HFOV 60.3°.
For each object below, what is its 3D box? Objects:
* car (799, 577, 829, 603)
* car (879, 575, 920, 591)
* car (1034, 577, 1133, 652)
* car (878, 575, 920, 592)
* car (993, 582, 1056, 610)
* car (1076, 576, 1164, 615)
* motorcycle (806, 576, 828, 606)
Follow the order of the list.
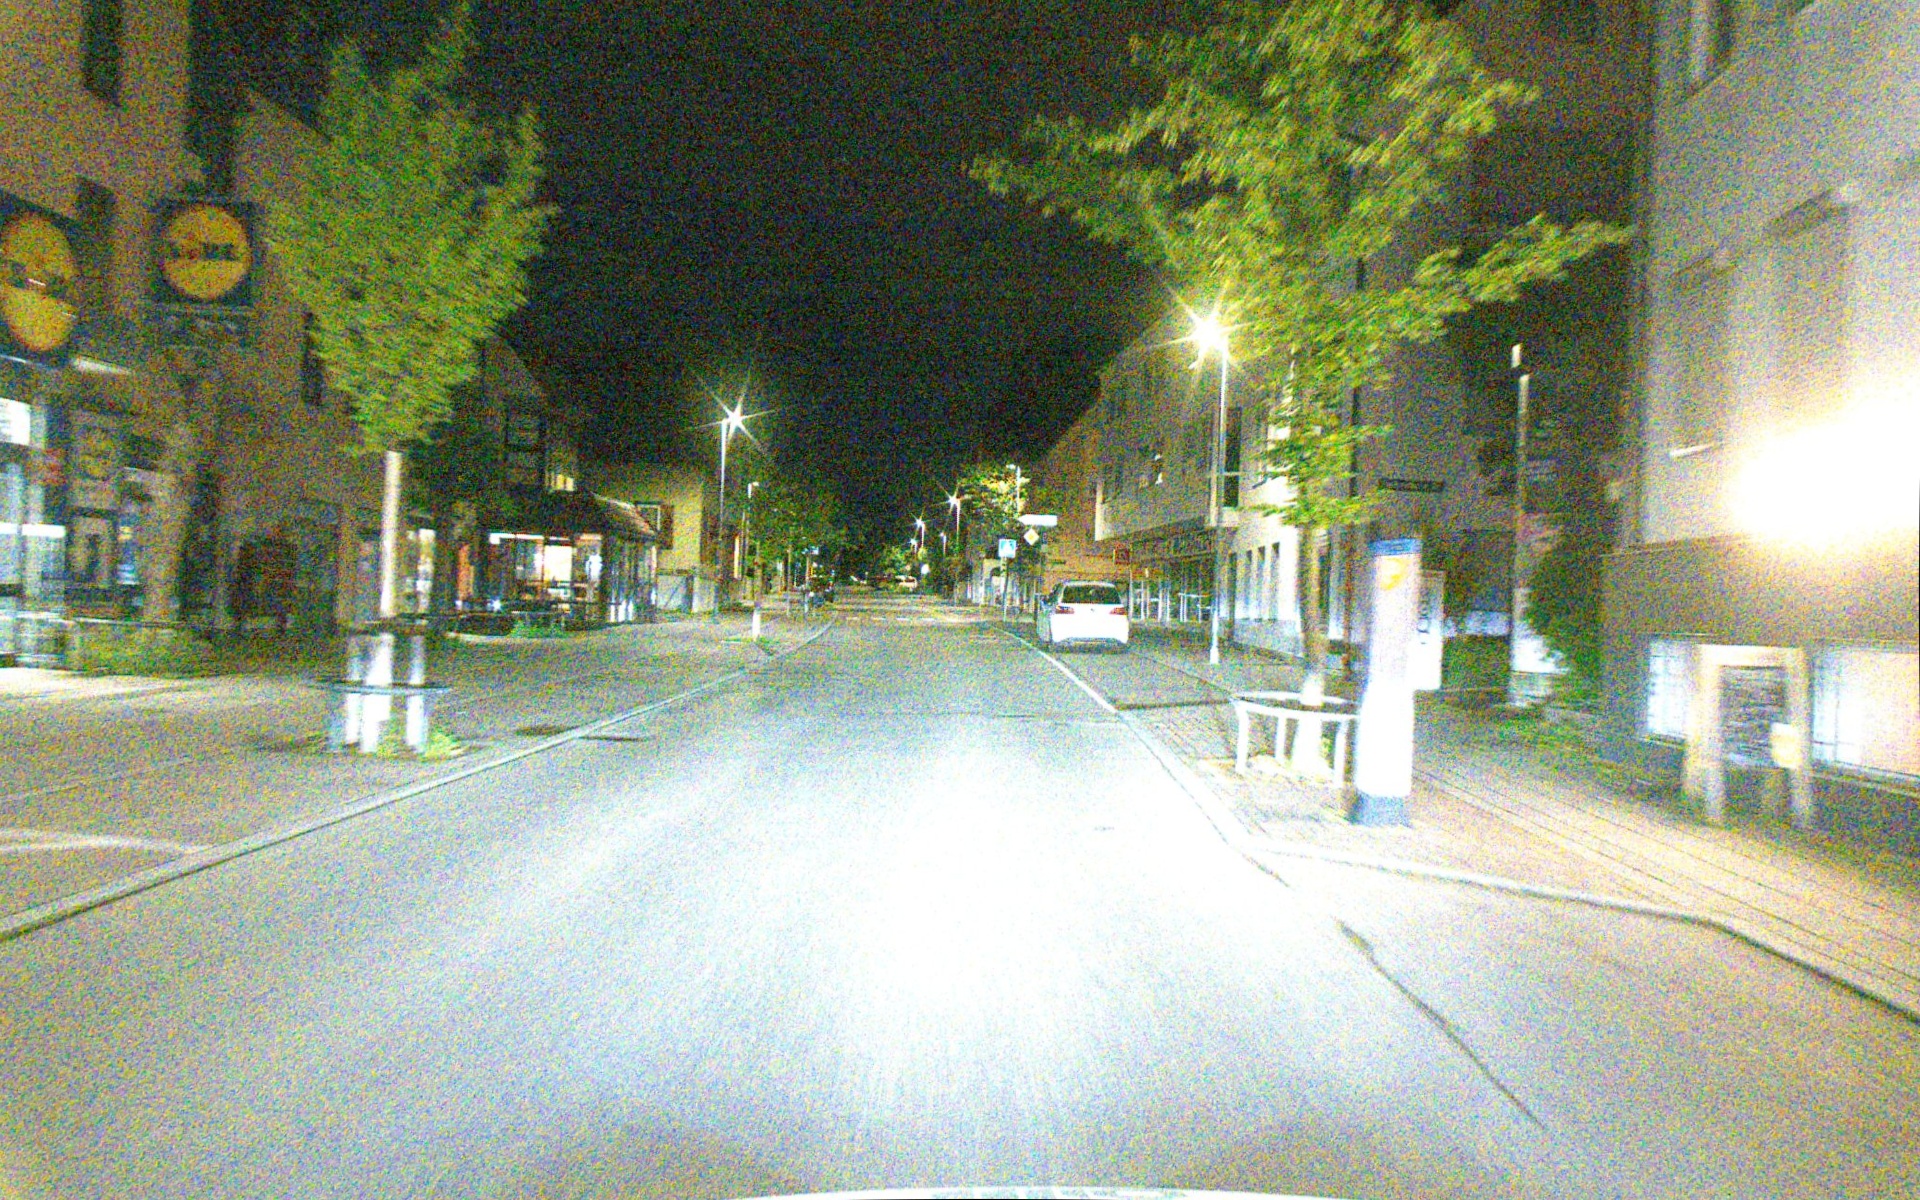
[{"bbox_3d":[-8.896,-0.623,101.005,1.654,1.536,4.275,1,1,-4],"label":"car"},{"bbox_3d":[-7.634,-2.130,209.509,5.082,2.049,2.099,0,1,-6],"label":"car"},{"bbox_3d":[2.744,0.295,37.526,1.708,1.596,4.206,0,1,-3],"label":"car"},{"bbox_3d":[-7.657,-2.049,206.435,5.082,2.049,2.099,0,1,-6],"label":"car"},{"bbox_3d":[3.810,-0.239,98.248,3.636,1.499,1.730,2,0,-2],"label":"car"},{"bbox_3d":[6.846,-0.196,70.962,3.437,1.551,1.819,-2,1,-6],"label":"car"},{"bbox_3d":[-7.049,-0.439,81.751,0.730,1.477,2.197,1,0,4],"label":"motorcycle"}]
